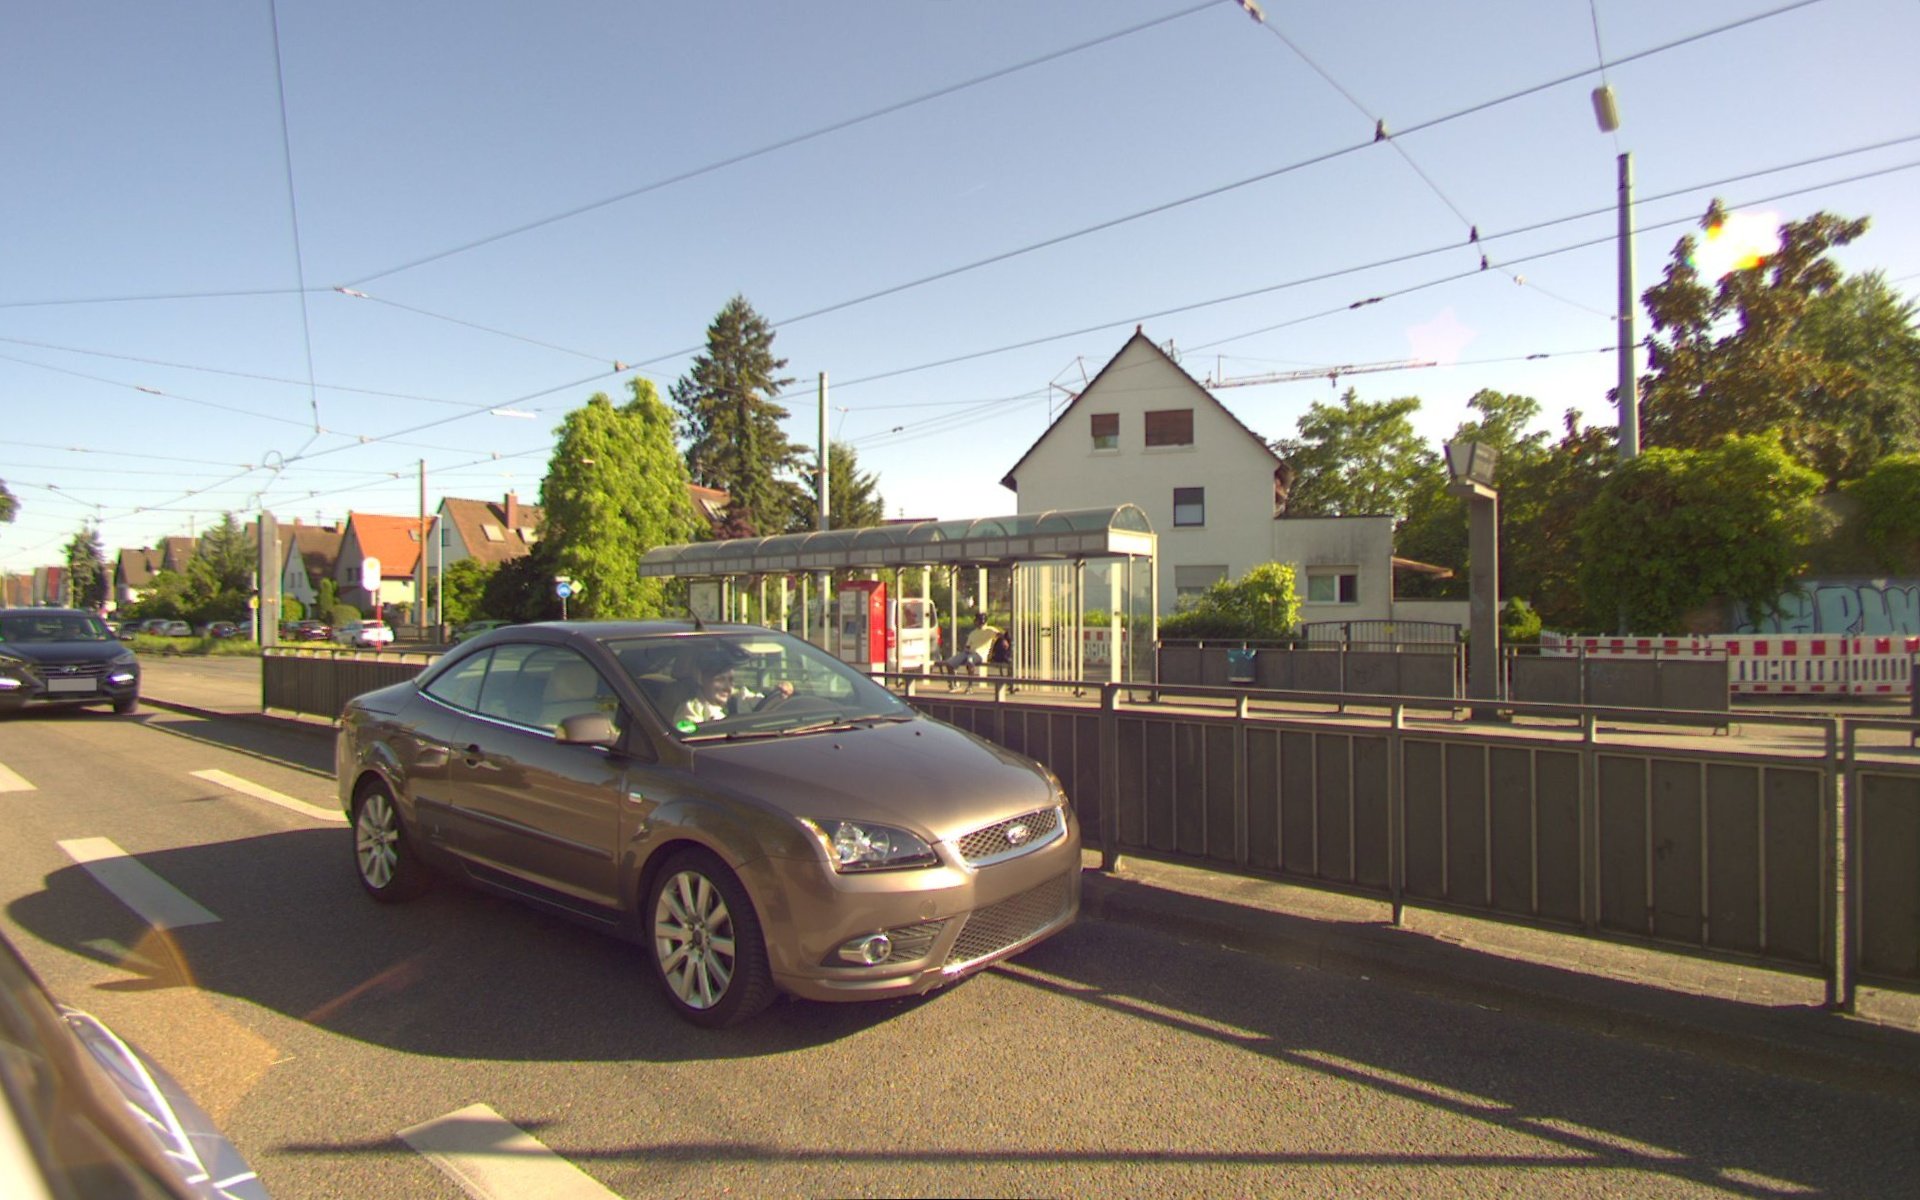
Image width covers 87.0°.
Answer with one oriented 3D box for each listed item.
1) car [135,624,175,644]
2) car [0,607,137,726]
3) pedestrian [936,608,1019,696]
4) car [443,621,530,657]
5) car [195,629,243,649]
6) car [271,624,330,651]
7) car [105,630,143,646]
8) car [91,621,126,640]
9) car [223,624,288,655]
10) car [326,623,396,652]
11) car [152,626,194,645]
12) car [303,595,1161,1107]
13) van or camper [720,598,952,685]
[{"bbox_3d":[-69.215,2.939,86.956,4.534,1.573,1.864,-2,0,41],"label":"car"},{"bbox_3d":[-14.475,0.976,15.822,4.285,1.642,1.757,-2,-2,41],"label":"car"},{"bbox_3d":[0.314,0.882,17.505,1.006,1.464,1.050,-1,-2,40],"label":"pedestrian"},{"bbox_3d":[-21.688,1.735,46.314,4.064,1.512,1.974,-1,0,38],"label":"car"},{"bbox_3d":[-54.620,2.881,74.557,4.308,1.382,1.972,-2,-1,42],"label":"car"},{"bbox_3d":[-40.481,2.274,62.083,4.438,1.477,1.887,-1,0,41],"label":"car"},{"bbox_3d":[-78.173,3.544,94.628,4.979,1.351,1.973,-1,0,41],"label":"car"},{"bbox_3d":[-84.633,3.011,100.539,4.582,1.877,1.973,-2,-1,41],"label":"car"},{"bbox_3d":[-36.729,2.018,52.724,4.341,1.532,1.717,-2,-2,41],"label":"car"},{"bbox_3d":[-33.148,2.039,55.925,4.610,1.483,1.865,-1,0,40],"label":"car"},{"bbox_3d":[-65.216,2.913,83.863,4.837,1.483,1.864,-2,0,42],"label":"car"},{"bbox_3d":[-1.385,0.777,4.945,4.328,1.461,1.758,-2,-2,38],"label":"car"},{"bbox_3d":[-3.110,1.010,24.185,5.982,1.842,1.973,-3,-3,40],"label":"van or camper"}]
